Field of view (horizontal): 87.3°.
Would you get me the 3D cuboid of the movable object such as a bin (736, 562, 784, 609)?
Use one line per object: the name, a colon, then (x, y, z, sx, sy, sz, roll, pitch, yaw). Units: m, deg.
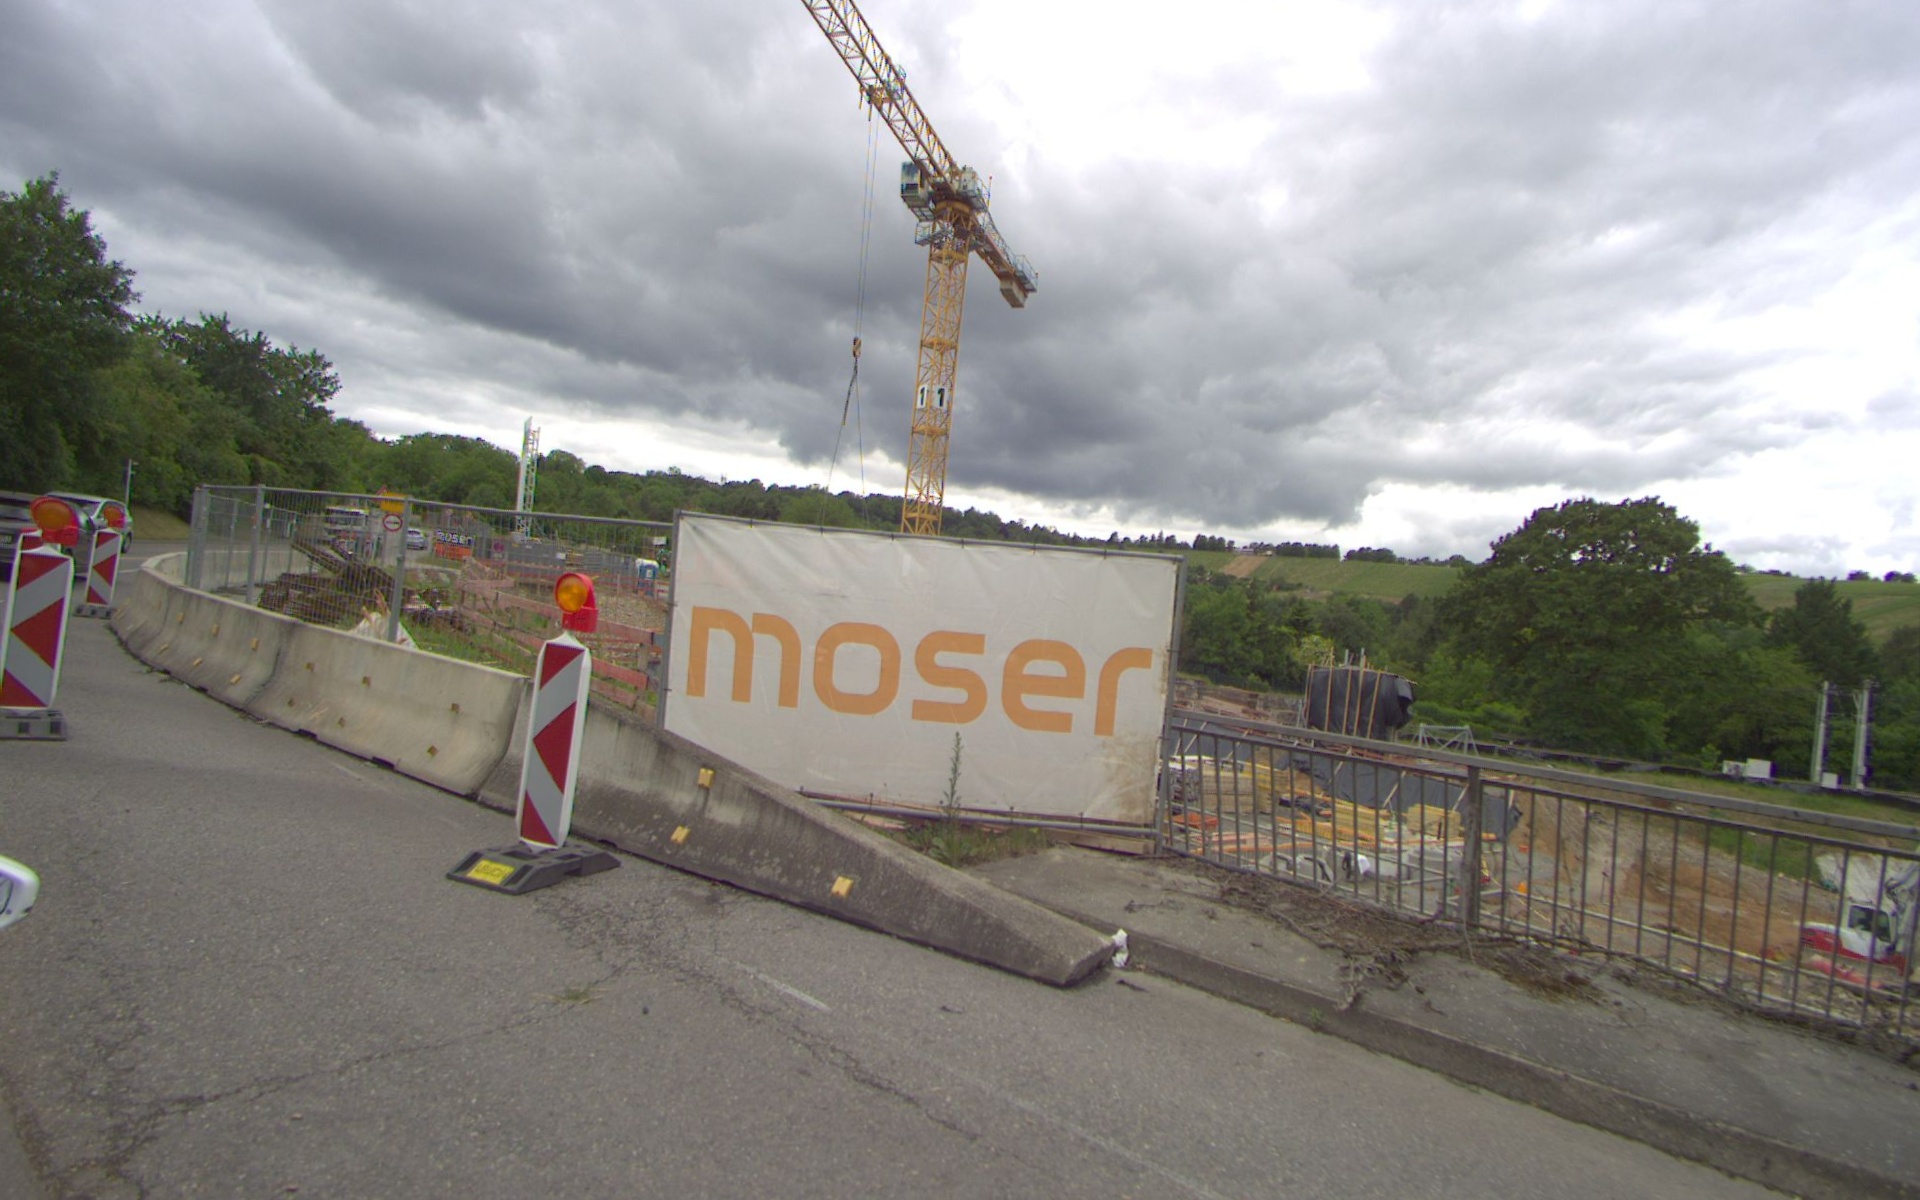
movable object such as a bin: (-14.591, -1.072, 73.345, 2.764, 3.115, 1.830, 6, 0, -24)

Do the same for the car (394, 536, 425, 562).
car: (-41.473, -3.830, 75.853, 1.695, 1.696, 3.976, 6, 0, -25)

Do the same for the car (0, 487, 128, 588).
car: (-17.062, -1.193, 18.440, 1.783, 1.570, 3.973, 9, -2, -27)

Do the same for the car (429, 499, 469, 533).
car: (-36.988, -6.057, 72.900, 1.972, 2.038, 3.982, 6, 0, -21)

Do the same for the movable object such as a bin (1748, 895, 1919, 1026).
movable object such as a bin: (26.863, 10.807, 30.479, 4.241, 2.780, 3.027, 10, -2, -28)

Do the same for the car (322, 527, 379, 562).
car: (-32.863, -2.963, 54.343, 1.801, 1.570, 3.771, 8, -1, -21)

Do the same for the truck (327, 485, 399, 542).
truck: (-41.546, -5.929, 70.289, 2.791, 3.379, 8.333, 6, 1, -22)

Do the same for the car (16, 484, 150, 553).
car: (-25.747, -2.319, 29.693, 1.641, 1.570, 4.164, 9, -2, -24)
